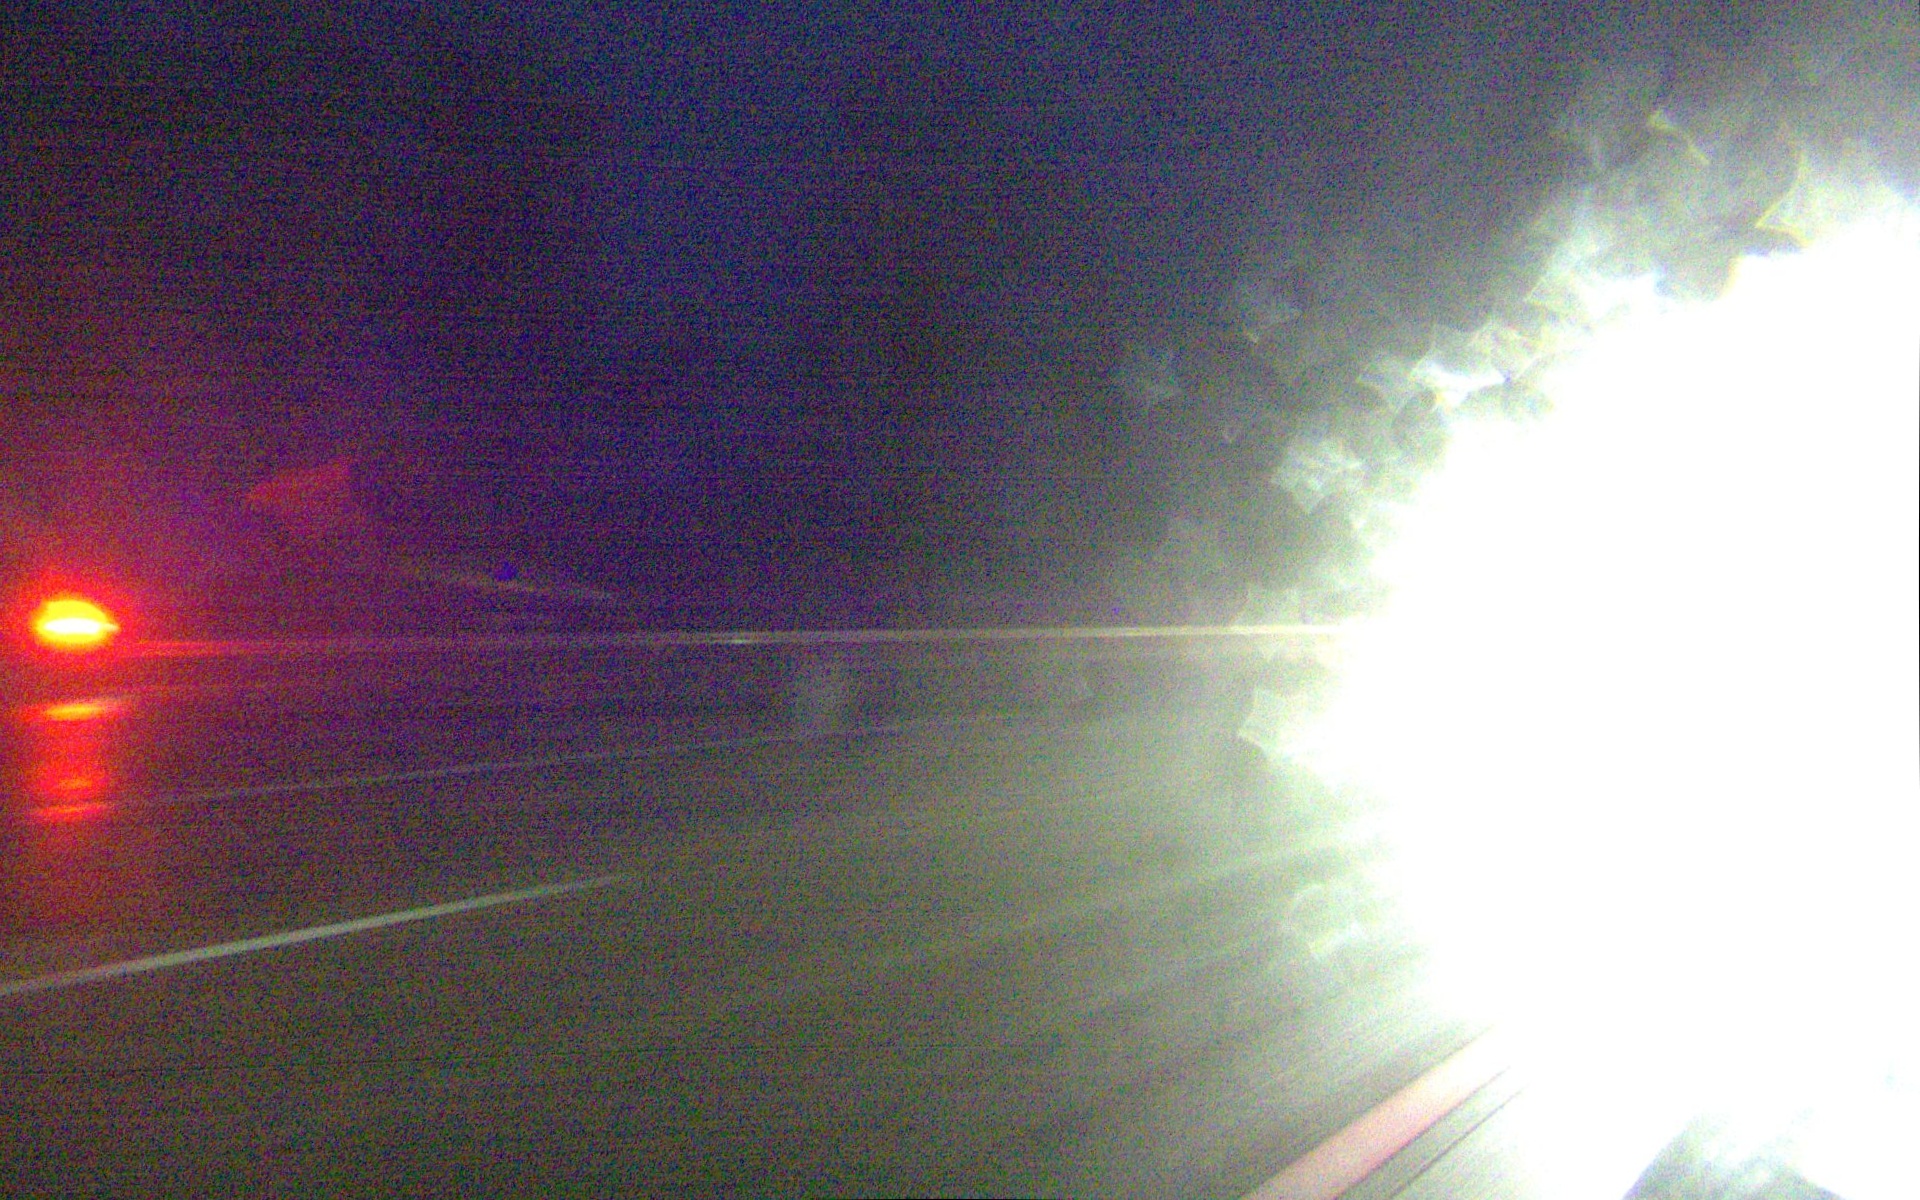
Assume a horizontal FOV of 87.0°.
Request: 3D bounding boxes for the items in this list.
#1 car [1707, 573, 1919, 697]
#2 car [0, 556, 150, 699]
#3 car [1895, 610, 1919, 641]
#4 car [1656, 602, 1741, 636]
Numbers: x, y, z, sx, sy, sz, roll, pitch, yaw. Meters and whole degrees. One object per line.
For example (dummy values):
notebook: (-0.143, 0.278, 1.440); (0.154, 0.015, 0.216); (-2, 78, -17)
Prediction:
car: (12.972, 0.507, 15.169); (3.609, 1.645, 1.848); (1, -2, -36)
car: (-15.349, 0.379, 14.664); (5.339, 2.039, 2.071); (1, -1, -30)
car: (65.357, 1.690, 68.686); (3.924, 2.040, 1.999); (0, -3, -36)
car: (35.236, 0.902, 48.277); (3.922, 1.571, 2.000); (0, -2, -33)
